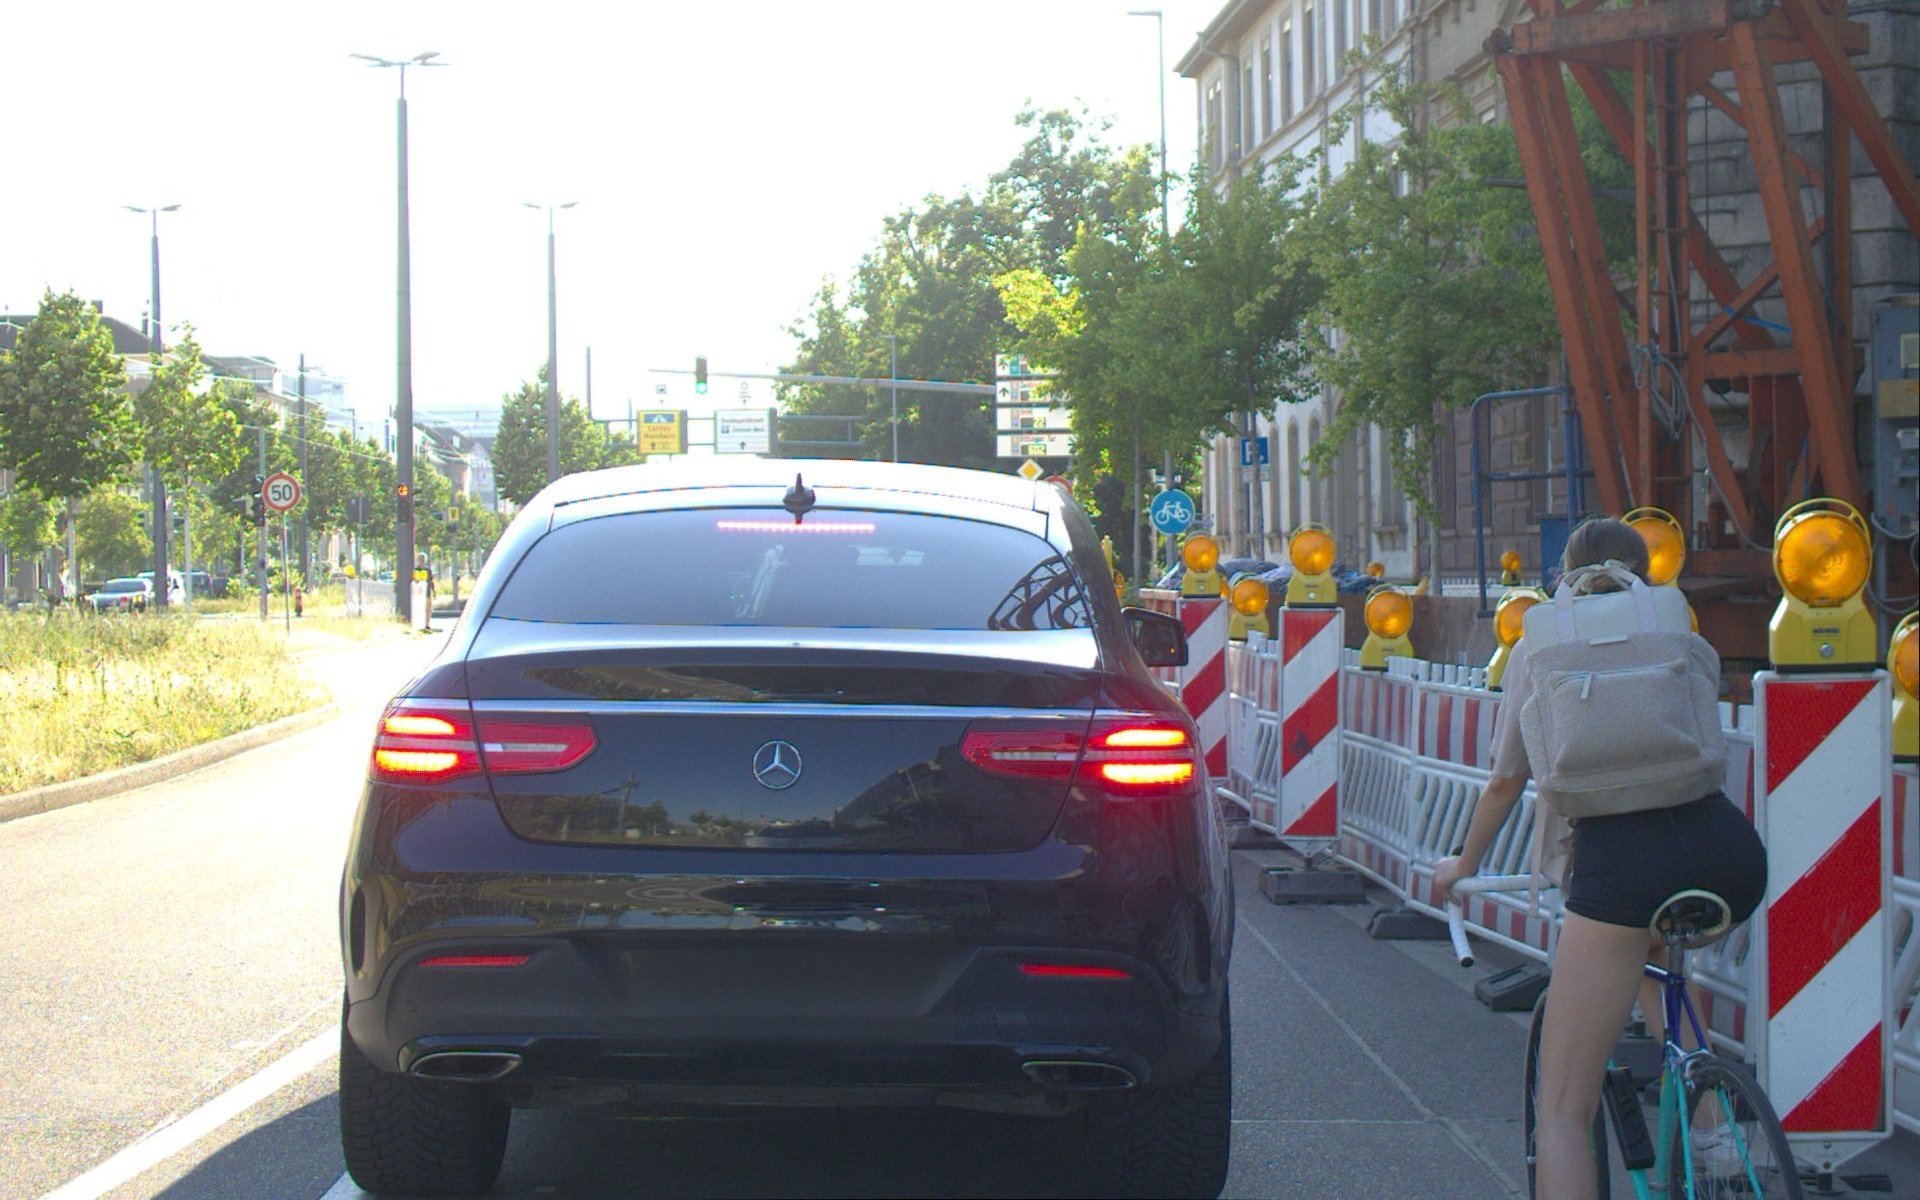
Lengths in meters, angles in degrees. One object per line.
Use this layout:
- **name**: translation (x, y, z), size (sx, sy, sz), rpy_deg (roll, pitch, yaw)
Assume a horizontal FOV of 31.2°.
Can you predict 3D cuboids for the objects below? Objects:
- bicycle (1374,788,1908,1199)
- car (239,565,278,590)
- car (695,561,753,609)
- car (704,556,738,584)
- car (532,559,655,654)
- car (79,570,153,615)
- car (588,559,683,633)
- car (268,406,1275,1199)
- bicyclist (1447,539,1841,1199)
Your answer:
- **bicycle**: translation (1.153, 0.920, 6.162), size (0.512, 1.048, 1.725), rpy_deg (1, 1, -3)
- **car**: translation (-41.629, -1.351, 204.078), size (1.708, 1.437, 3.583), rpy_deg (1, 1, -3)
- **car**: translation (-7.314, -0.473, 106.848), size (1.708, 1.437, 3.583), rpy_deg (1, 1, -3)
- **car**: translation (-12.760, -1.614, 183.770), size (1.708, 1.437, 3.583), rpy_deg (1, 1, -3)
- **car**: translation (-5.784, 0.081, 54.520), size (1.708, 1.437, 3.583), rpy_deg (1, 1, -3)
- **car**: translation (-28.137, -0.265, 114.720), size (1.708, 1.437, 3.583), rpy_deg (1, 1, -3)
- **car**: translation (-6.501, -0.094, 69.105), size (1.708, 1.437, 3.583), rpy_deg (1, 1, -3)
- **car**: translation (-0.400, 0.487, 8.875), size (1.993, 1.766, 4.000), rpy_deg (1, 1, -1)
- **bicyclist**: translation (1.181, 0.594, 6.026), size (0.522, 1.391, 0.615), rpy_deg (1, 0, -3)
